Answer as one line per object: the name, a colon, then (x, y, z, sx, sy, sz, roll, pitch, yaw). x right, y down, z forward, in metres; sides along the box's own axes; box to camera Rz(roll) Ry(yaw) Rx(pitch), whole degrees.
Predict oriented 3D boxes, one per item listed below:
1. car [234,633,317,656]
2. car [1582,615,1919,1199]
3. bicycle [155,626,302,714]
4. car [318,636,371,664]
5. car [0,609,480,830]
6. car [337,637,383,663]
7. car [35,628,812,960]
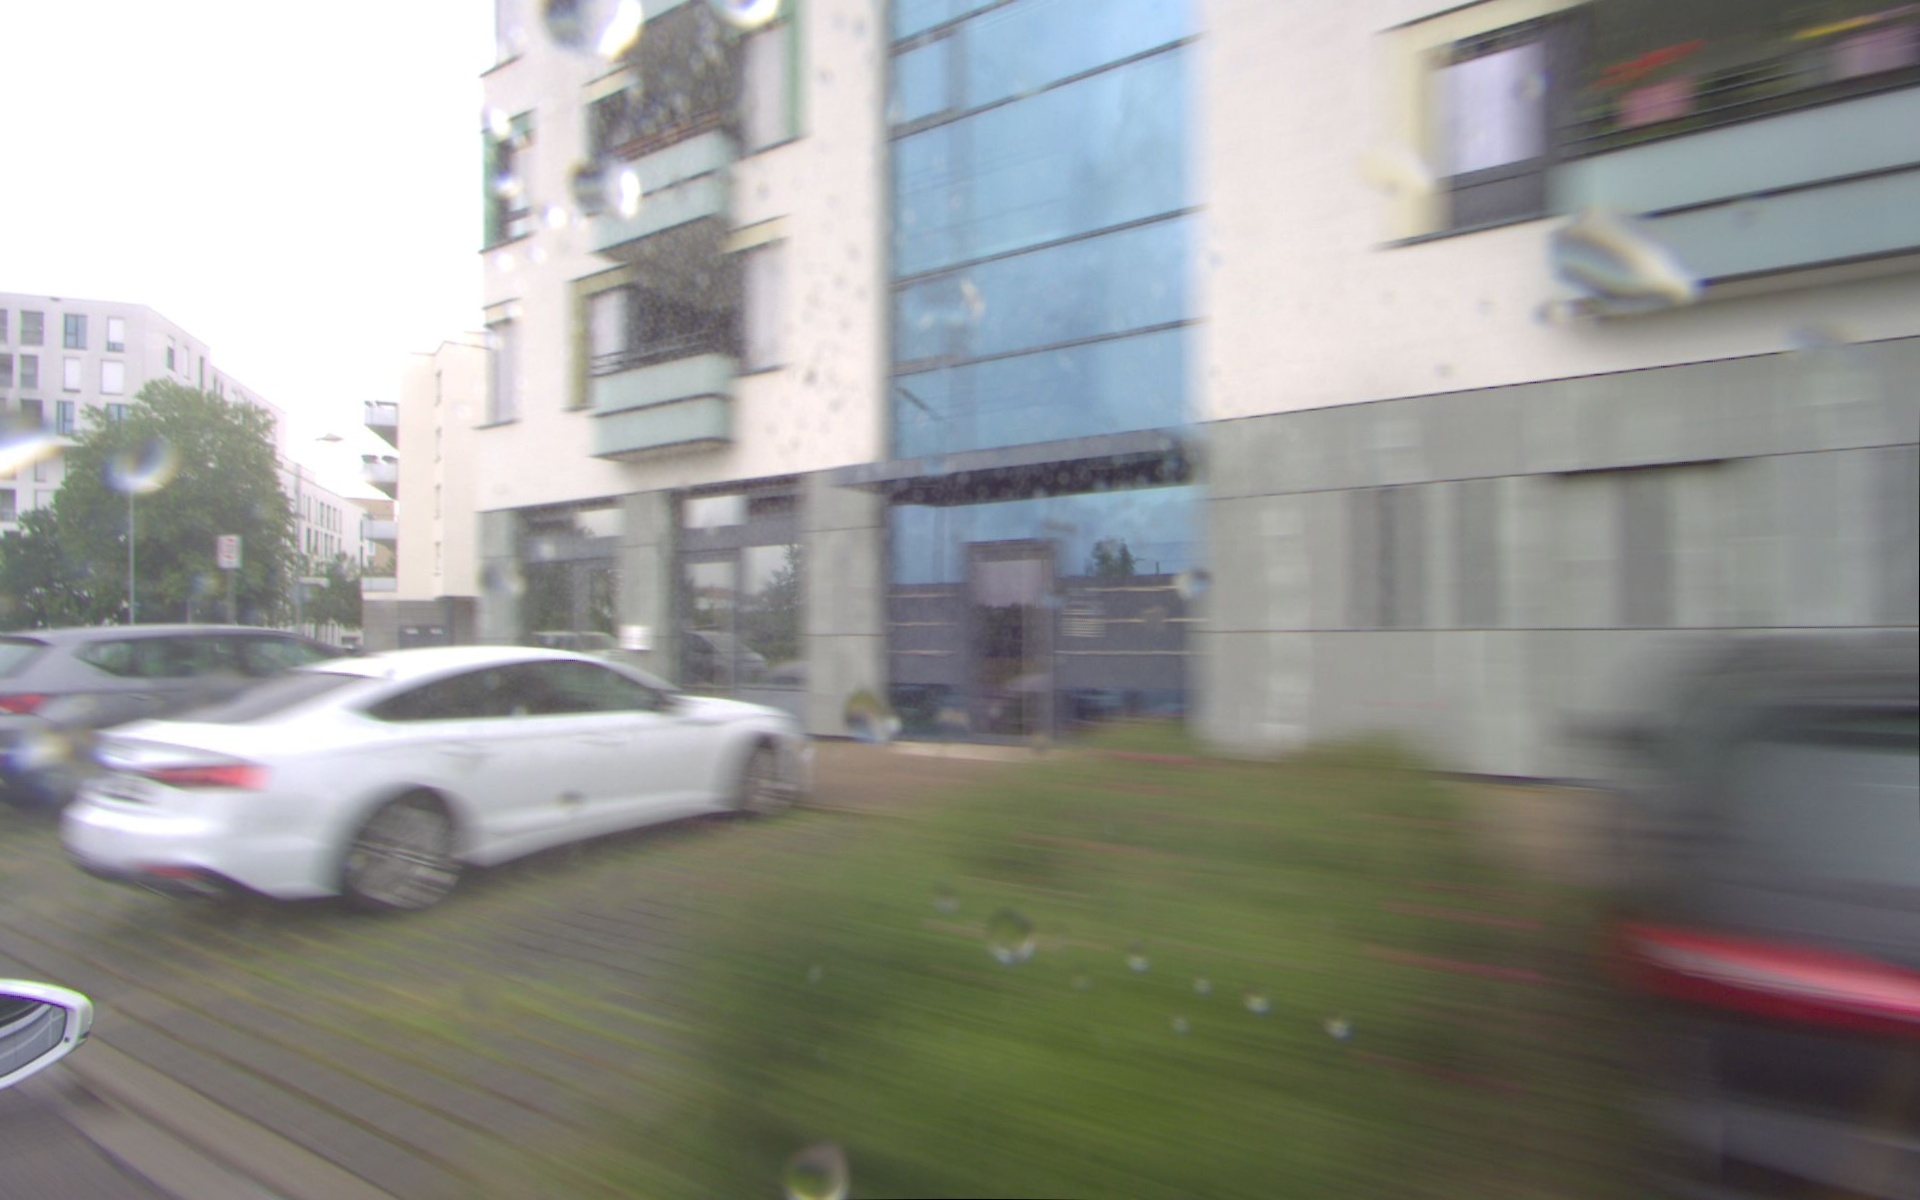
car: (-50.787, 3.306, 74.375, 4.753, 1.526, 1.622, 3, -3, -18)
car: (3.200, 0.801, 3.300, 1.851, 1.498, 3.981, -1, -1, 31)
bicycle: (-13.536, 1.260, 18.583, 2.169, 1.542, 0.626, 1, -1, -38)
car: (-35.750, 2.919, 58.276, 1.705, 1.568, 4.113, 1, -2, -19)
car: (-7.134, 0.936, 9.705, 1.937, 1.645, 4.083, -1, -1, 30)
car: (-38.343, 3.192, 64.117, 1.705, 1.568, 3.993, 1, -2, -19)
car: (-3.174, 0.954, 6.929, 1.883, 1.423, 4.401, -1, -1, 31)
